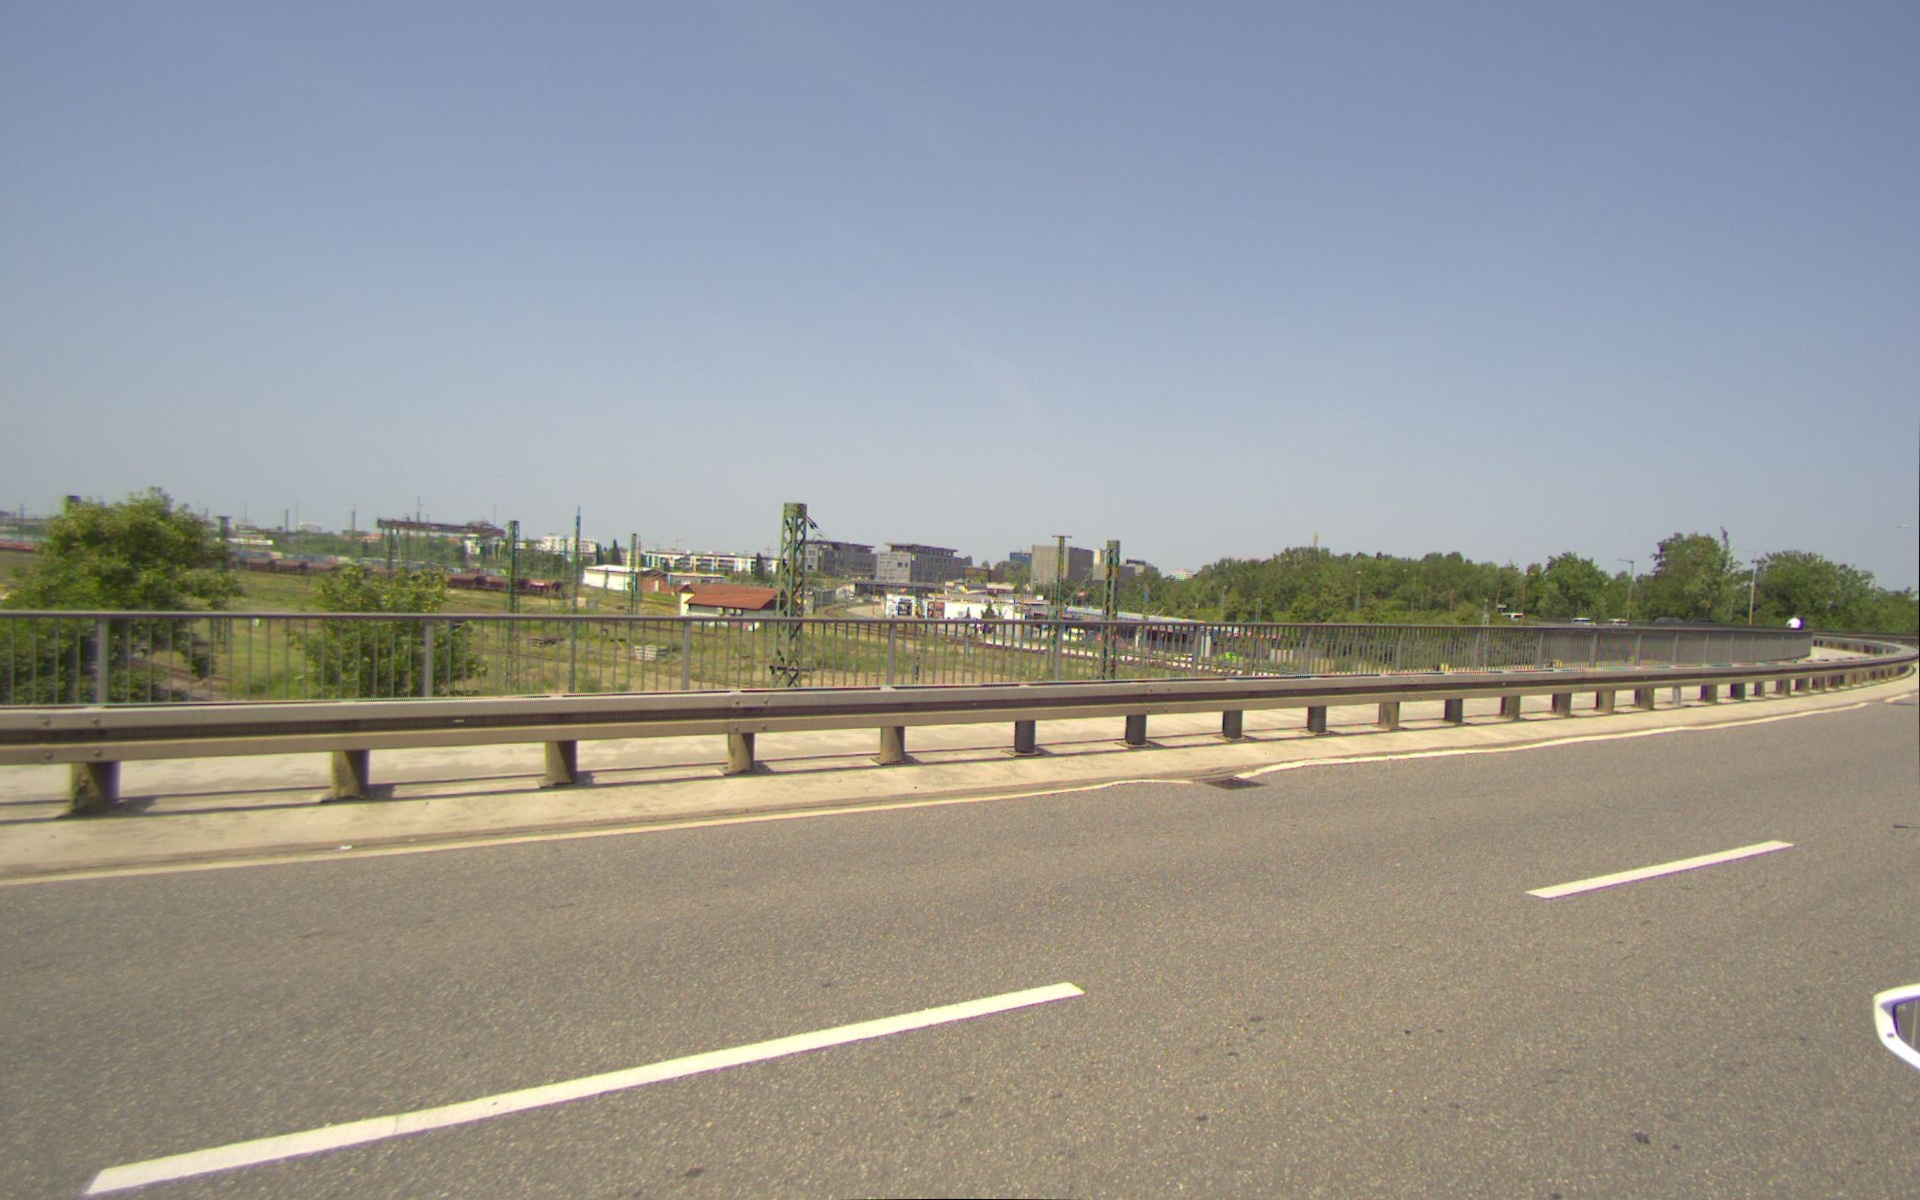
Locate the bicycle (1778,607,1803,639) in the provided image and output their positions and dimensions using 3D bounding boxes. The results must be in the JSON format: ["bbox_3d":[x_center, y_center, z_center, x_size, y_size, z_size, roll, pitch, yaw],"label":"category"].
[{"bbox_3d":[50.200,1.380,60.720,0.687,1.826,2.177,2,1,28],"label":"bicycle"}]

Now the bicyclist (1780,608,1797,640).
[{"bbox_3d":[50.511,1.439,61.256,0.615,1.911,0.711,2,1,29],"label":"bicyclist"}]
